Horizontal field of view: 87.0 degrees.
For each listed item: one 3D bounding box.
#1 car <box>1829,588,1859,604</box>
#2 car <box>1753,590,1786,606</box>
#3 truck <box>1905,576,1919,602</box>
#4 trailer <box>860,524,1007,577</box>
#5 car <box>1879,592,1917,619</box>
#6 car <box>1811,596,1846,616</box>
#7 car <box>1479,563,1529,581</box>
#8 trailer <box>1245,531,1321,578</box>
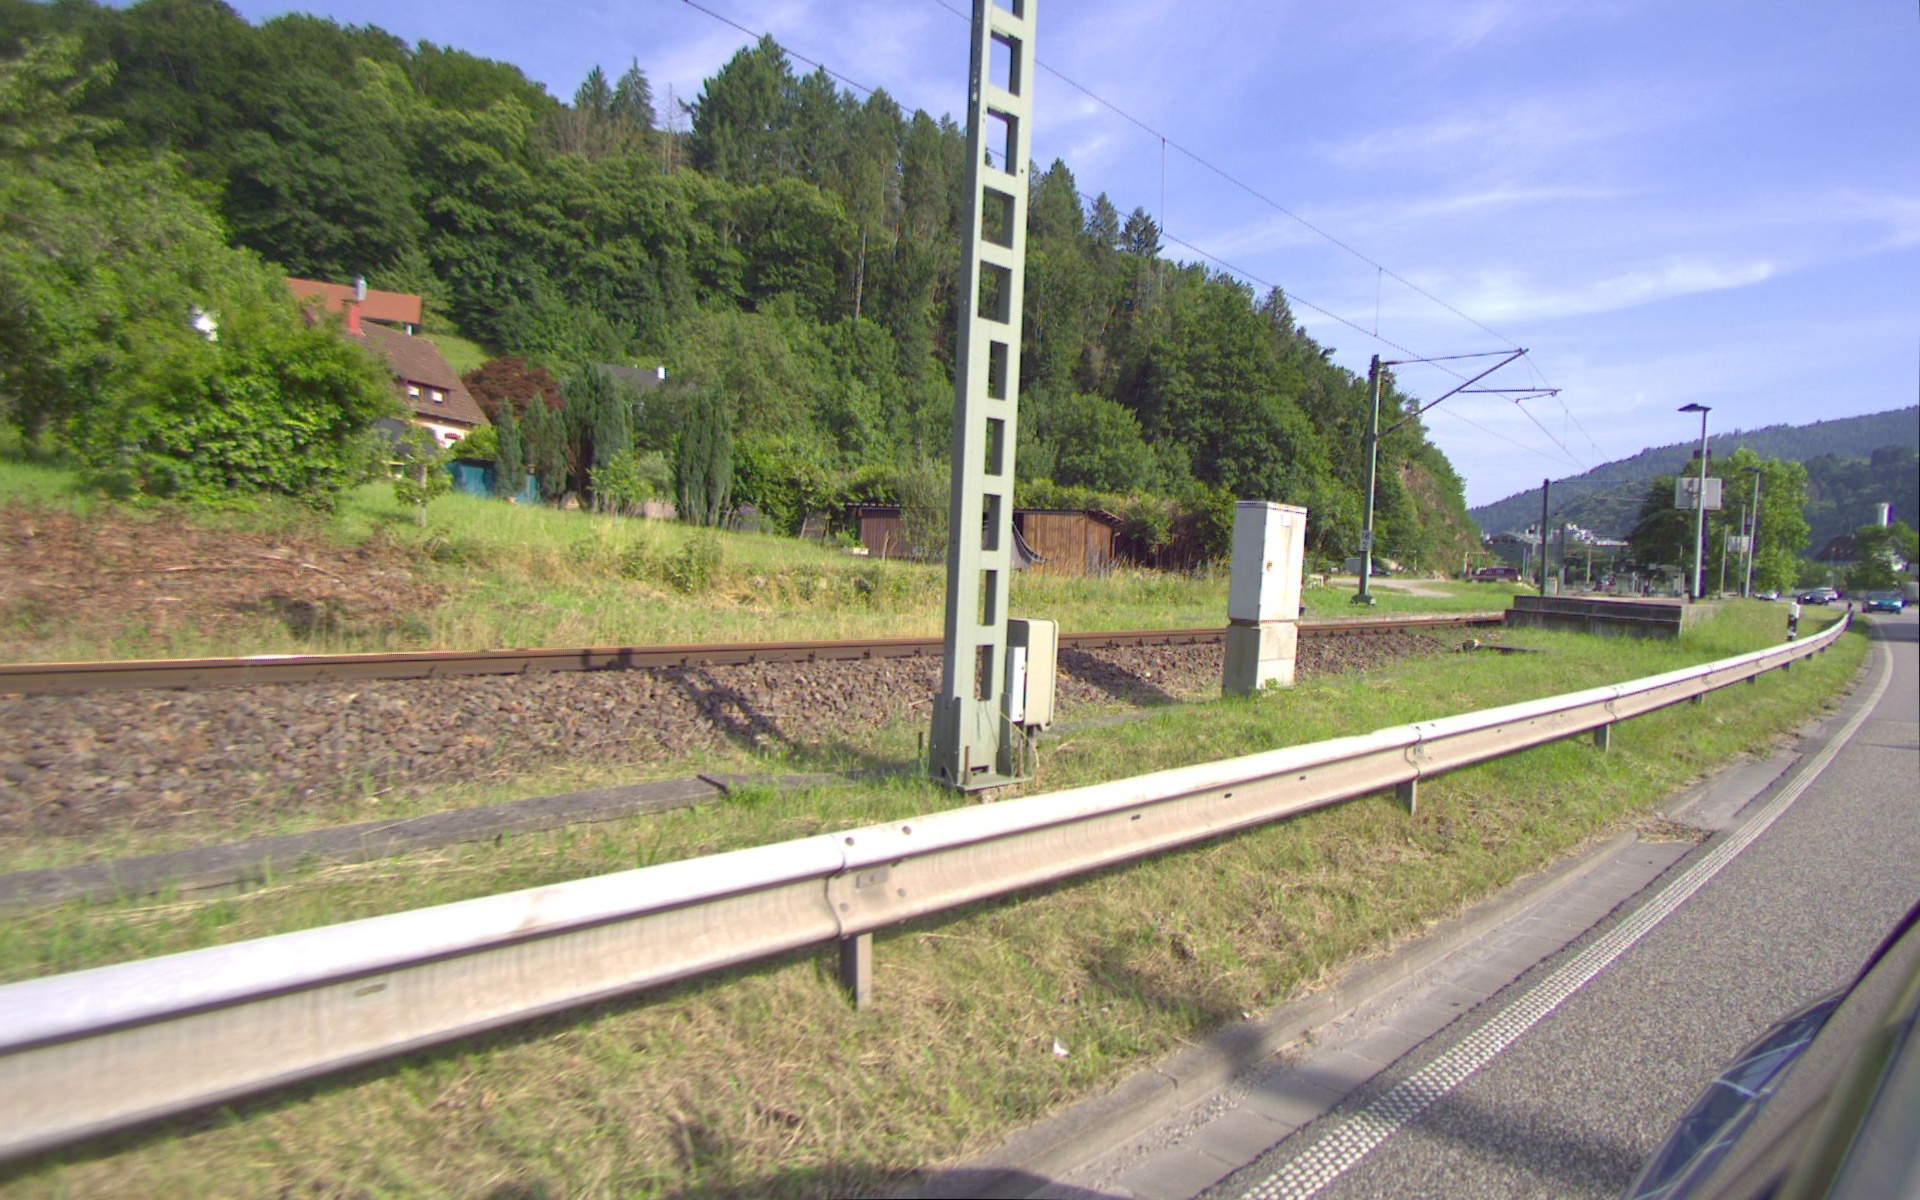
[{"bbox_3d":[101.781,-0.493,116.523,1.872,1.767,4.131,1,1,32],"label":"car"},{"bbox_3d":[92.662,-0.228,115.887,1.865,1.767,4.146,1,1,23],"label":"car"},{"bbox_3d":[88.314,-1.007,92.750,1.875,2.314,4.659,1,1,35],"label":"truck"},{"bbox_3d":[-0.850,-1.588,32.275,4.071,1.045,2.300,10,3,30],"label":"trailer"},{"bbox_3d":[66.759,0.377,71.995,1.881,1.767,4.112,1,2,44],"label":"car"},{"bbox_3d":[82.937,0.549,96.668,1.872,1.767,4.131,1,1,32],"label":"car"},{"bbox_3d":[63.656,-3.277,118.429,4.939,2.039,1.977,0,0,33],"label":"car"},{"bbox_3d":[32.635,-4.502,101.927,9.047,4.538,2.735,-1,0,-39],"label":"trailer"}]
